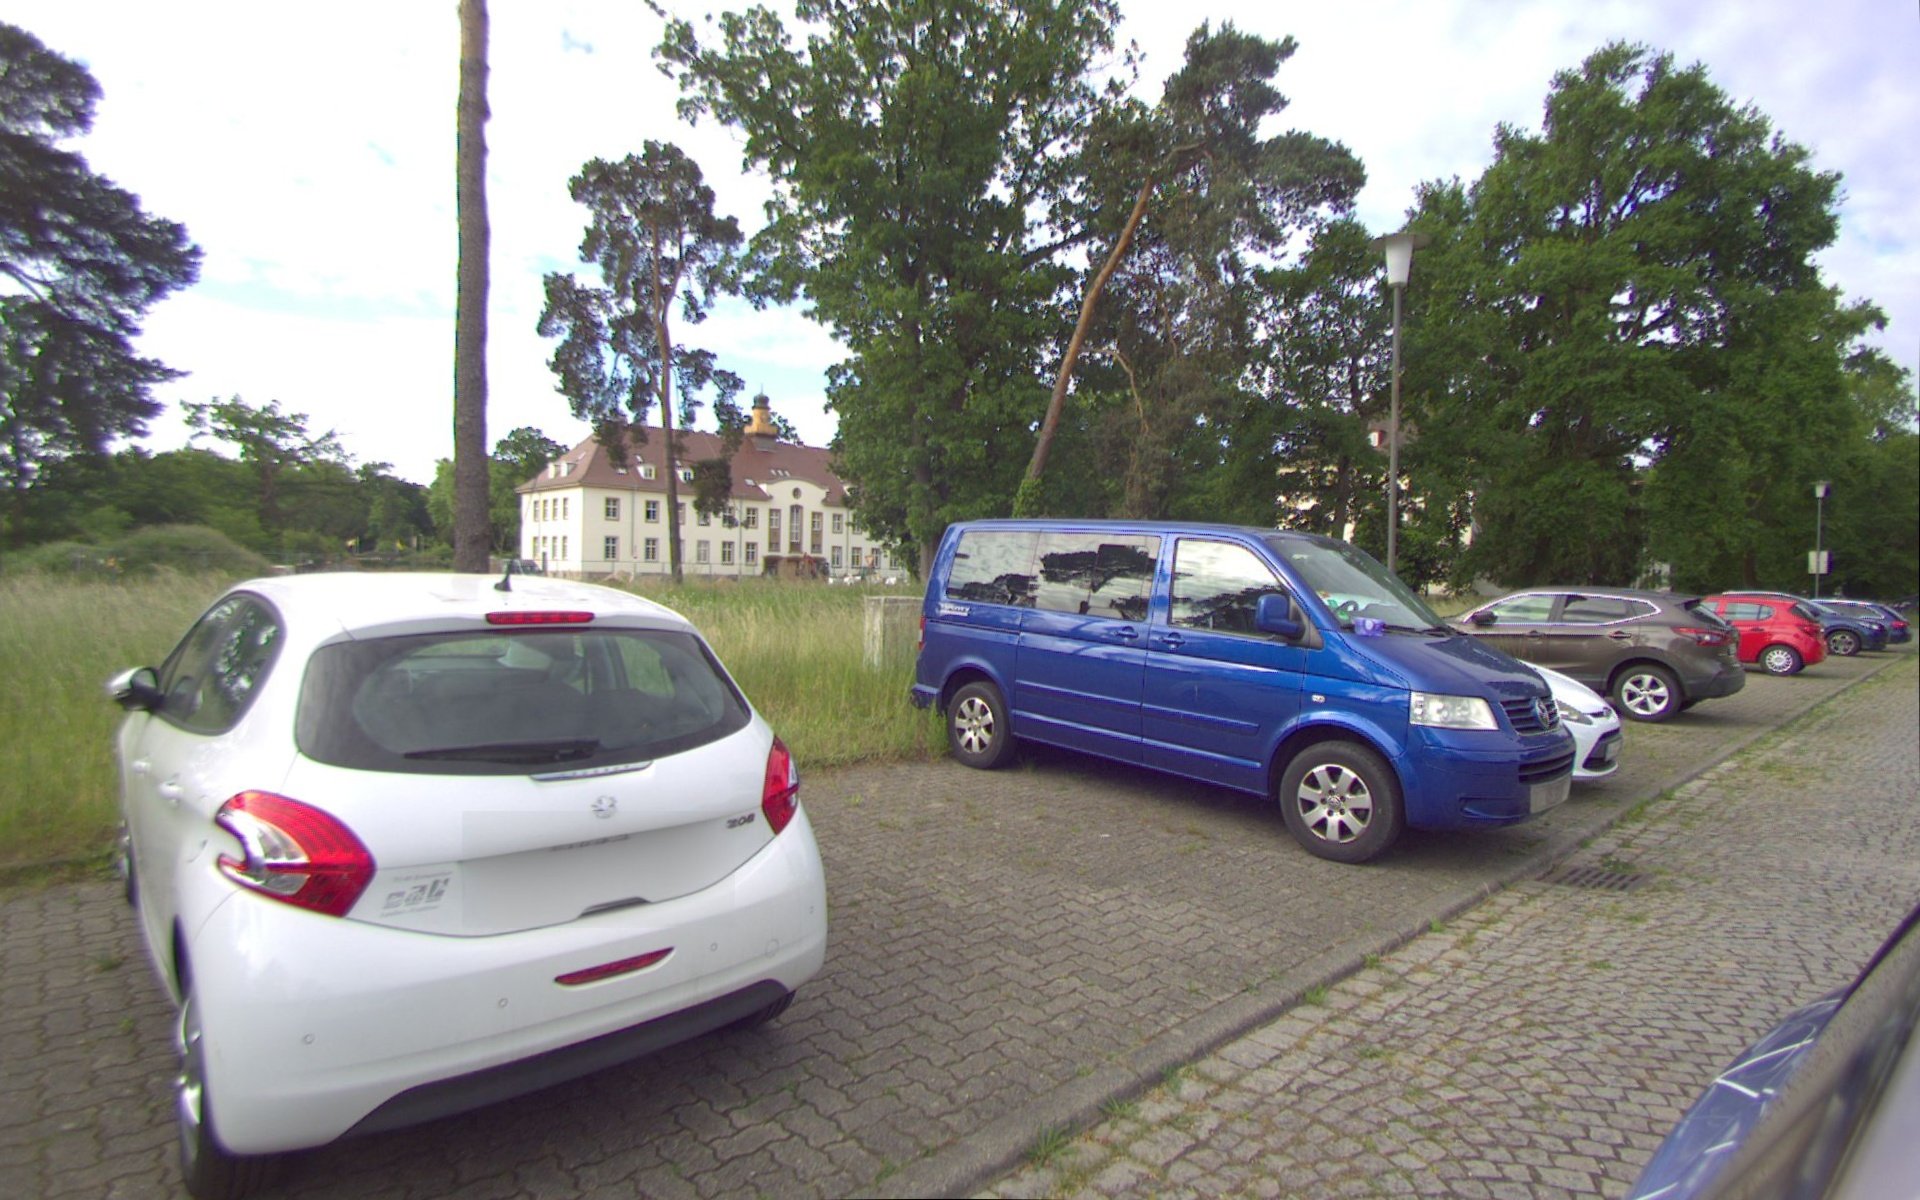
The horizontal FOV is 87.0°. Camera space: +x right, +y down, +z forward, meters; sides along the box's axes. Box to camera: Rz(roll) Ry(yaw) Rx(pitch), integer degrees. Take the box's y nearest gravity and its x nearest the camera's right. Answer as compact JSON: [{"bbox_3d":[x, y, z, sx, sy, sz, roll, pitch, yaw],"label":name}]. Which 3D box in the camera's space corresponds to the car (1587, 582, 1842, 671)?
[{"bbox_3d":[15.301,0.466,20.654,1.756,1.515,3.927,0,2,-44],"label":"car"}]

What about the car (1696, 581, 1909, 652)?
[{"bbox_3d":[22.785,0.386,27.480,1.856,1.642,4.249,0,2,-44],"label":"car"}]

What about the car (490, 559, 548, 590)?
[{"bbox_3d":[-40.130,-2.301,91.987,5.644,2.674,2.249,0,0,35],"label":"car"}]

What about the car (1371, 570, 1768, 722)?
[{"bbox_3d":[8.028,0.471,13.595,1.921,1.614,4.206,0,3,-45],"label":"car"}]

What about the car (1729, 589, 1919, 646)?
[{"bbox_3d":[26.223,0.477,30.626,1.893,1.457,4.366,0,2,-41],"label":"car"}]

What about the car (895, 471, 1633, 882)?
[{"bbox_3d":[1.840,0.268,7.396,1.934,2.028,4.799,0,3,-45],"label":"car"}]

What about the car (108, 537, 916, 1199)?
[{"bbox_3d":[-2.021,0.542,3.883,1.736,1.497,3.658,0,3,-43],"label":"car"}]

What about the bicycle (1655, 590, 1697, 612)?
[{"bbox_3d":[40.330,0.063,57.024,1.837,1.185,0.485,1,0,22],"label":"bicycle"}]

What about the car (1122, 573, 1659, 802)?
[{"bbox_3d":[3.655,0.570,9.116,4.100,1.497,1.694,4,3,44],"label":"car"}]
